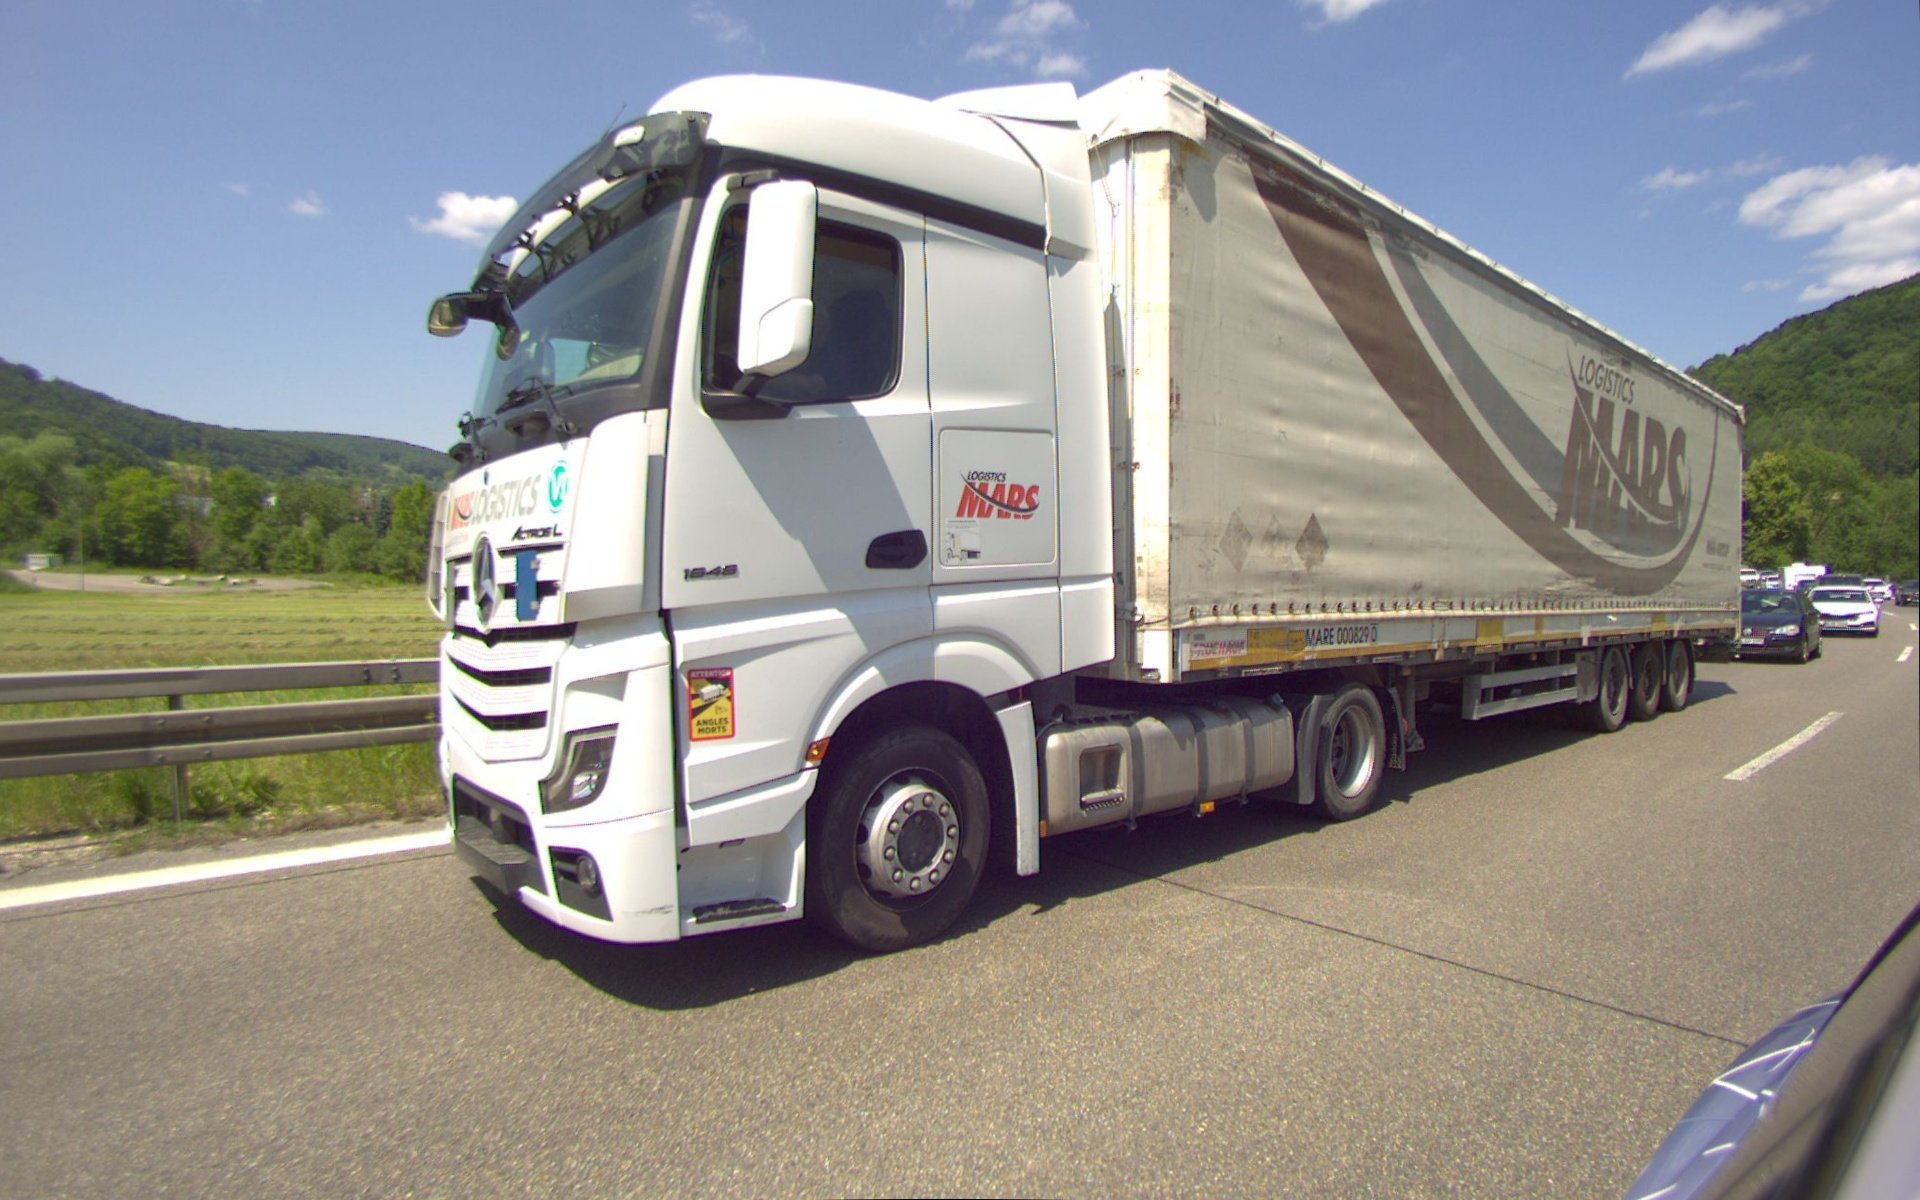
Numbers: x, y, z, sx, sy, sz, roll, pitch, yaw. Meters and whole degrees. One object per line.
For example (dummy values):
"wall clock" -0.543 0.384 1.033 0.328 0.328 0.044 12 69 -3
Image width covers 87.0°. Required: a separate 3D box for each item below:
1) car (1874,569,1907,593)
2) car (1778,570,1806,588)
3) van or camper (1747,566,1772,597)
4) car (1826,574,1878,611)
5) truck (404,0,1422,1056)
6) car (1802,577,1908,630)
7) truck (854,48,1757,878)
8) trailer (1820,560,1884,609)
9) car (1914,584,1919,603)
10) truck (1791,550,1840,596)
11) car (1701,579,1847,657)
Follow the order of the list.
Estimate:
"car" 67.756 -1.341 73.715 1.524 1.658 3.370 -2 -1 39
"car" 73.524 -1.842 89.411 1.693 1.552 3.624 -2 -1 42
"van or camper" 82.921 -1.900 104.988 1.902 3.065 4.805 1 1 39
"car" 36.635 -0.338 41.539 1.485 1.400 3.681 4 3 43
"truck" 0.151 -0.700 6.049 5.656 4.118 2.723 -1 1 -42
"car" 26.455 0.086 29.881 3.657 1.448 1.906 0 1 -41
"truck" 5.170 -0.777 10.585 13.506 4.118 2.730 -1 1 -42
"trailer" 39.117 -0.697 44.387 1.993 1.994 3.939 2 2 42
"car" 58.784 -0.407 61.231 1.487 1.123 3.164 0 1 43
"truck" 63.185 -1.906 74.762 2.592 3.147 6.758 -2 -1 40
"car" 16.655 0.324 20.654 3.771 1.440 1.694 0 0 -41
